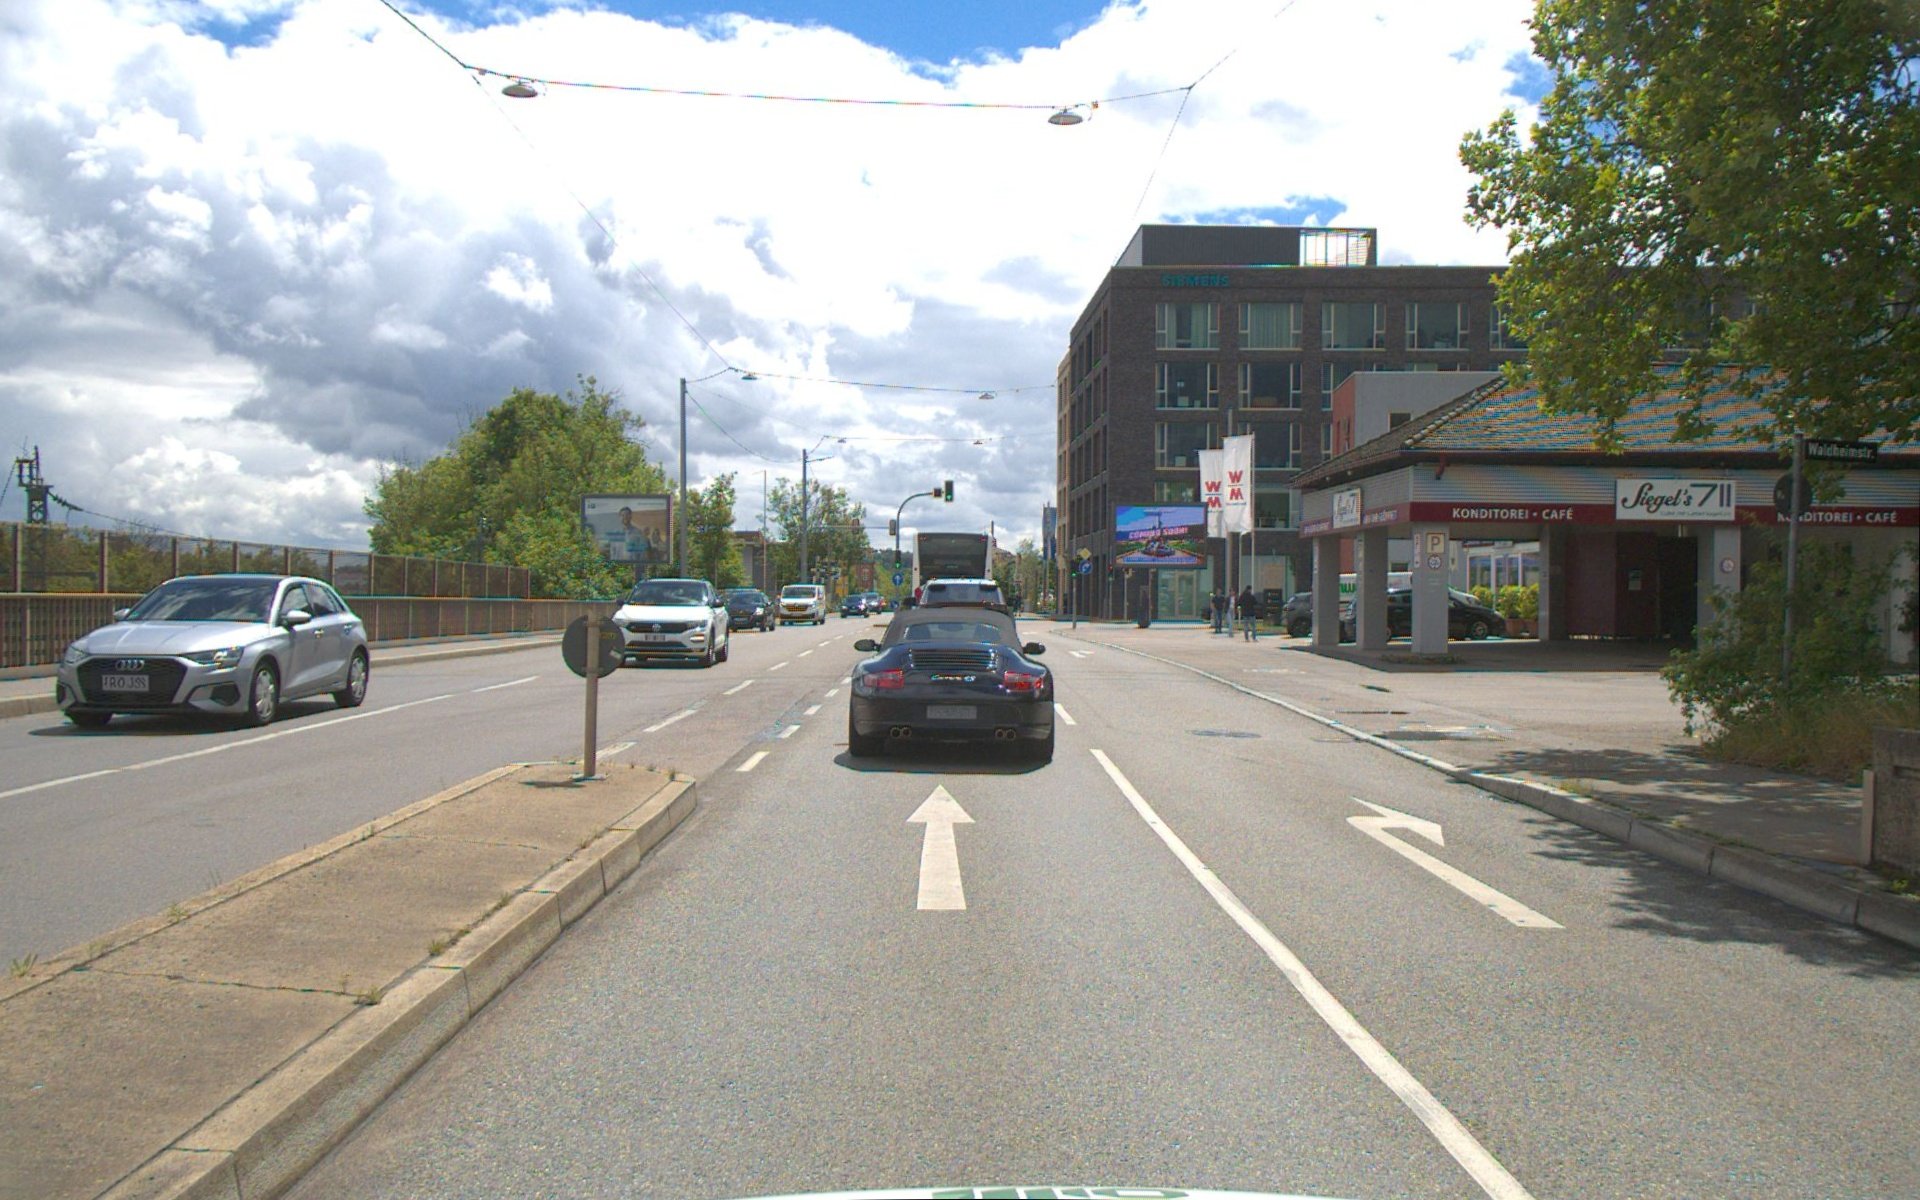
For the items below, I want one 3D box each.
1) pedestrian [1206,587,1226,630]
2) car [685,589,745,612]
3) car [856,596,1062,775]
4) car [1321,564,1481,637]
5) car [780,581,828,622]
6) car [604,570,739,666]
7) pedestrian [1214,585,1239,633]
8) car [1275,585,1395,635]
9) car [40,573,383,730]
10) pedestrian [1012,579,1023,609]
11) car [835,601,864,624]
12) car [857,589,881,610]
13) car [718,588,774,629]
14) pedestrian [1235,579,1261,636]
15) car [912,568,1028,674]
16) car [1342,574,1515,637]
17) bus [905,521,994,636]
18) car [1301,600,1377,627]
[{"bbox_3d":[10.091,0.332,65.277,0.657,1.690,0.742,0,0,-2],"label":"pedestrian"},{"bbox_3d":[-14.263,0.035,96.170,3.448,1.286,1.387,0,0,-10],"label":"car"},{"bbox_3d":[-0.050,0.708,15.785,1.685,1.297,4.088,1,2,-1],"label":"car"},{"bbox_3d":[12.933,0.022,48.701,4.144,1.970,2.029,-2,0,0],"label":"car"},{"bbox_3d":[-7.684,0.061,81.761,1.863,1.920,5.312,-2,0,-1],"label":"car"},{"bbox_3d":[-5.130,0.301,29.936,1.773,1.587,4.206,1,0,-1],"label":"car"},{"bbox_3d":[9.785,0.328,60.735,0.693,1.726,0.924,1,0,-4],"label":"pedestrian"},{"bbox_3d":[12.850,0.350,56.797,3.682,1.465,1.719,-3,0,0],"label":"car"},{"bbox_3d":[-7.328,0.434,16.684,1.603,1.387,4.194,0,1,-1],"label":"car"},{"bbox_3d":[3.979,-0.406,114.672,0.653,2.049,0.769,0,0,-2],"label":"pedestrian"},{"bbox_3d":[-7.225,0.824,108.097,1.629,1.440,3.802,0,0,0],"label":"car"},{"bbox_3d":[-6.978,-0.035,127.647,1.629,1.574,3.802,0,0,0],"label":"car"},{"bbox_3d":[-8.024,0.312,62.280,1.595,1.455,3.999,1,0,-1],"label":"car"},{"bbox_3d":[8.796,0.217,50.505,0.666,1.726,0.598,1,0,25],"label":"pedestrian"},{"bbox_3d":[0.103,0.303,29.442,1.842,1.621,4.229,2,2,-2],"label":"car"},{"bbox_3d":[12.877,0.171,45.655,4.212,1.539,1.846,-2,-1,0],"label":"car"},{"bbox_3d":[-0.303,-0.948,56.755,2.634,3.311,12.062,2,3,0],"label":"bus"},{"bbox_3d":[20.999,0.767,91.751,3.849,1.456,1.473,0,0,-1],"label":"car"}]
